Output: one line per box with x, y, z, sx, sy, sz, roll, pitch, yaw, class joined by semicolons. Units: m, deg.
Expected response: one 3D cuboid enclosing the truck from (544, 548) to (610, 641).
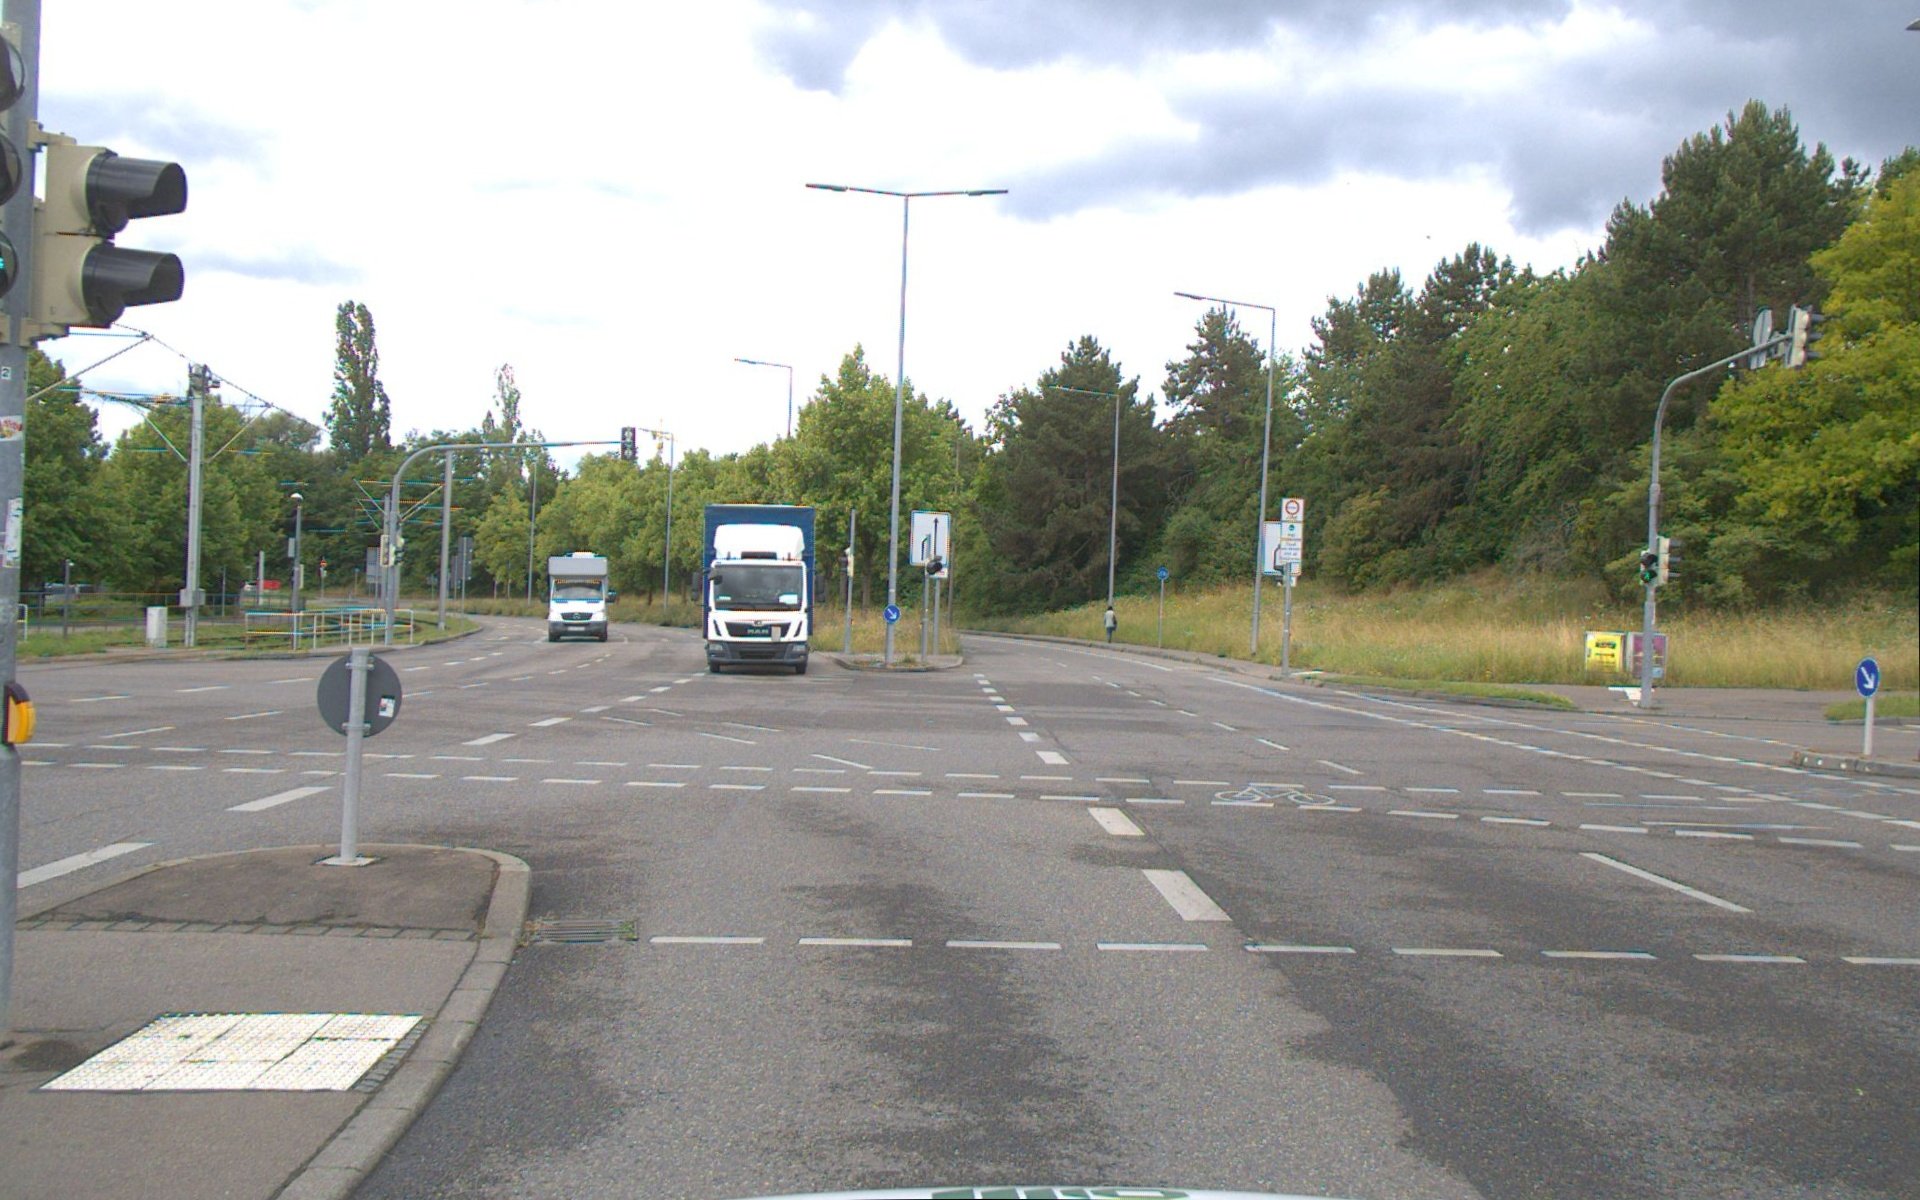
-13.659;-0.185;59.219;2.068;3.063;6.254;-2;0;-12;truck

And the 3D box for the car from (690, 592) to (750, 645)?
-9.725;0.701;66.708;1.960;2.049;4.592;1;0;-14;car

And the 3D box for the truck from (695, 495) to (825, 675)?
-4.897;-0.315;40.059;2.726;3.871;8.374;1;0;-8;truck

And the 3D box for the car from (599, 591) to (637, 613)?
-28.869;0.139;139.455;1.975;1.758;3.685;1;0;-33;car

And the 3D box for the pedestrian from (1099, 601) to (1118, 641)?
6.580;0.940;73.283;0.724;1.747;0.625;1;0;-1;pedestrian
